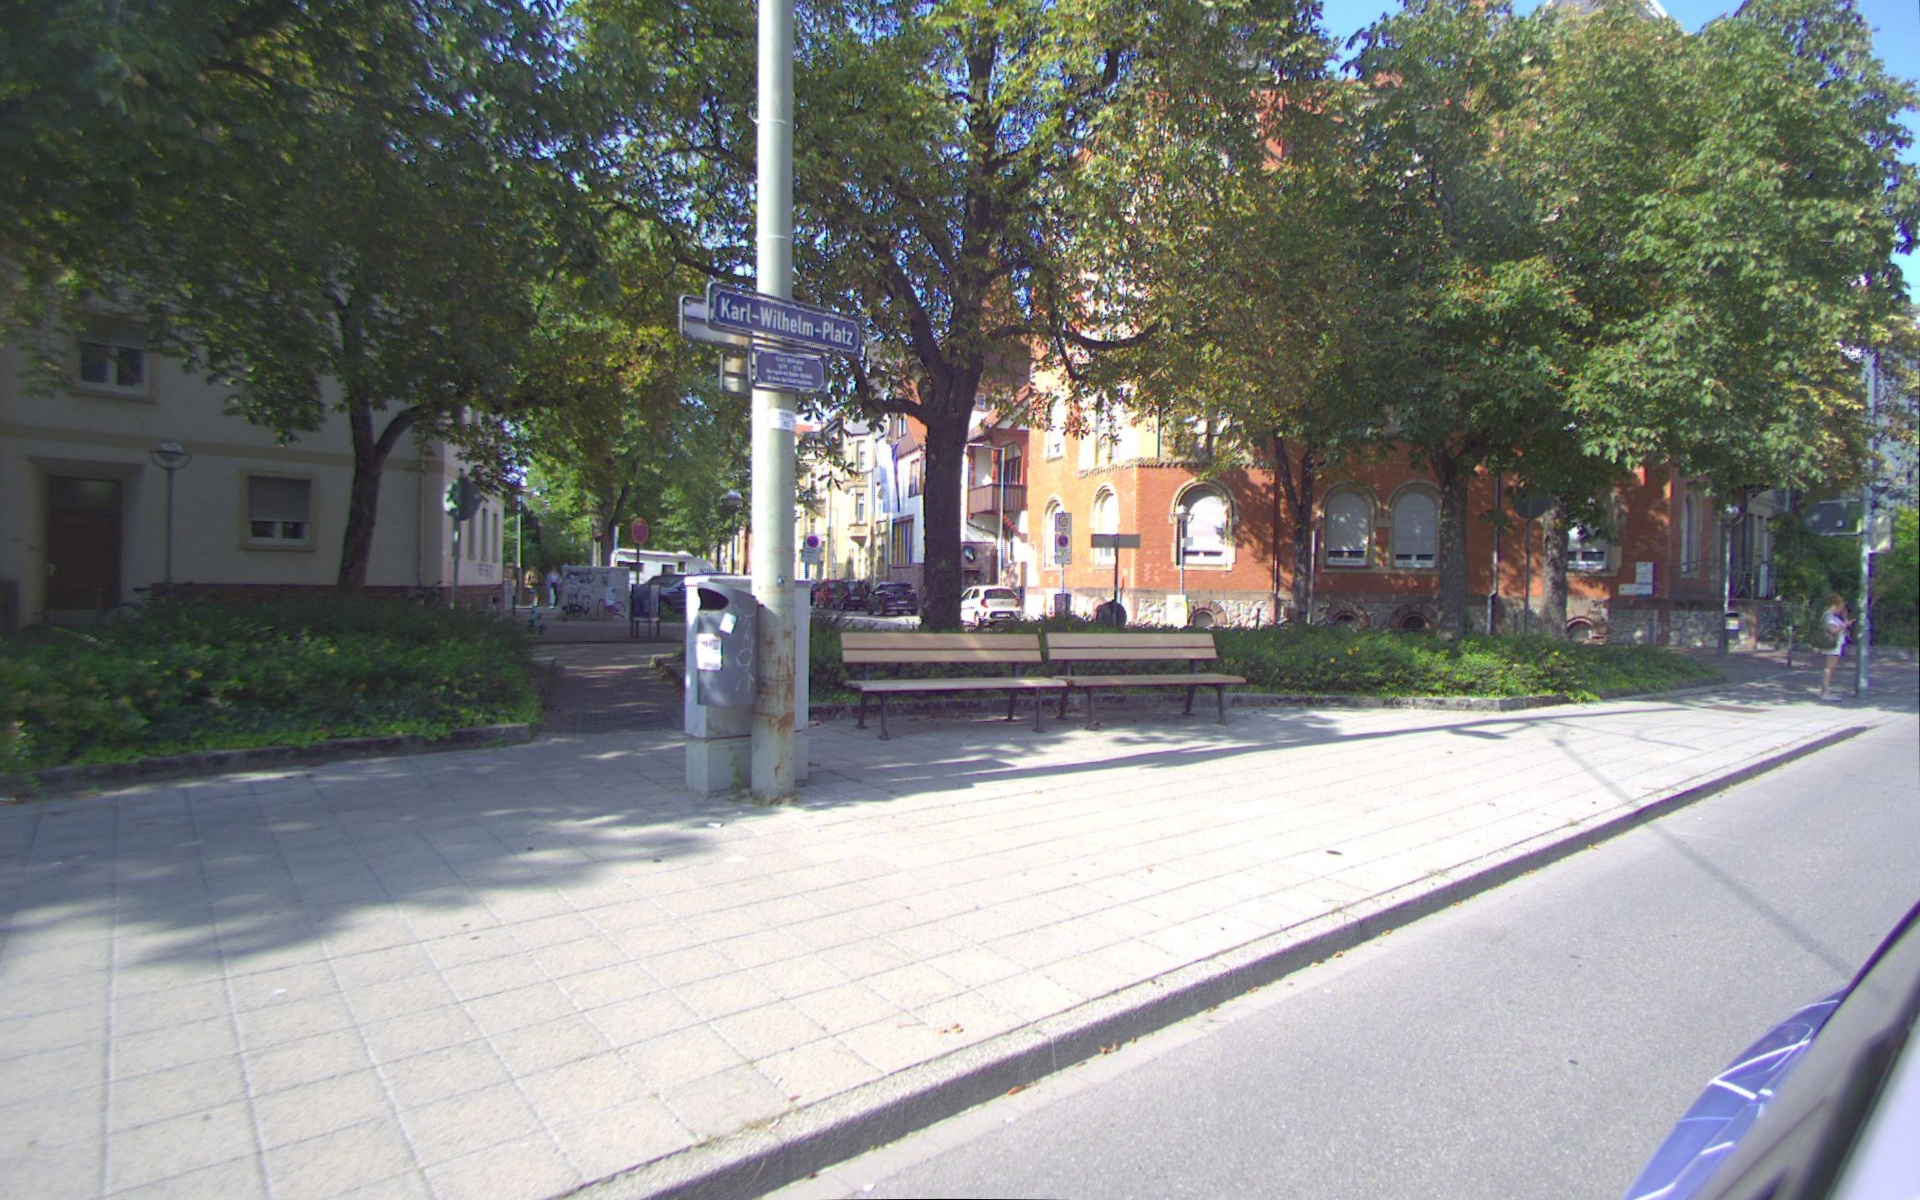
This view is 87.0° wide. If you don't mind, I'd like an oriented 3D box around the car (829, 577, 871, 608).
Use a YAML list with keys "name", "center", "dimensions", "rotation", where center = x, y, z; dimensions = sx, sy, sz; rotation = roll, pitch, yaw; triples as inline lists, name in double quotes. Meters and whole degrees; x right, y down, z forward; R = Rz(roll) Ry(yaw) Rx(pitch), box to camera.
- name: "car"
  center: [-6.451, -0.440, 59.091]
  dimensions: [1.588, 1.723, 4.009]
  rotation: [1, 1, -18]

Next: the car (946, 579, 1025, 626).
- name: "car"
  center: [0.869, 0.060, 36.728]
  dimensions: [1.588, 1.586, 4.009]
  rotation: [1, 1, -18]

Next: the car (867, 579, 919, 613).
- name: "car"
  center: [-3.299, -0.220, 49.136]
  dimensions: [1.588, 1.586, 4.009]
  rotation: [1, 1, -18]

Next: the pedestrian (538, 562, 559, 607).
- name: "pedestrian"
  center: [-16.418, -0.613, 40.411]
  dimensions: [0.754, 1.782, 0.860]
  rotation: [1, 0, -21]

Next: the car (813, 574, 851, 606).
- name: "car"
  center: [-8.123, -0.622, 63.972]
  dimensions: [1.588, 1.946, 4.009]
  rotation: [1, 1, -18]

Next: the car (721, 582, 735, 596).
- name: "car"
  center: [-31.361, -1.498, 136.758]
  dimensions: [1.588, 1.730, 4.009]
  rotation: [1, 1, -18]

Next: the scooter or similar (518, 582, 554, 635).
- name: "scooter or similar"
  center: [-9.603, 0.172, 22.952]
  dimensions: [0.433, 1.172, 1.114]
  rotation: [1, 1, -5]

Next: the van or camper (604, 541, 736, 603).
- name: "van or camper"
  center: [-16.145, -1.517, 56.364]
  dimensions: [6.796, 2.919, 2.003]
  rotation: [3, -3, -20]

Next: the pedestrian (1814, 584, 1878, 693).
- name: "pedestrian"
  center: [14.492, 0.610, 16.554]
  dimensions: [0.648, 1.739, 0.545]
  rotation: [1, 0, -26]

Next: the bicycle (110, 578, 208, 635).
- name: "bicycle"
  center: [-15.416, 0.115, 19.514]
  dimensions: [1.460, 1.073, 0.417]
  rotation: [0, 1, -36]

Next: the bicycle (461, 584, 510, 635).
- name: "bicycle"
  center: [-10.367, 0.182, 22.164]
  dimensions: [0.596, 1.071, 1.843]
  rotation: [1, 1, -13]

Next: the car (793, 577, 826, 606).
- name: "car"
  center: [-10.518, -0.591, 70.660]
  dimensions: [1.588, 1.946, 4.009]
  rotation: [1, 1, -18]

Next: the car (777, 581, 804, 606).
- name: "car"
  center: [-13.968, -0.544, 83.271]
  dimensions: [1.588, 1.946, 4.009]
  rotation: [1, 1, -18]

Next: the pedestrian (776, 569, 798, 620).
- name: "pedestrian"
  center: [-6.173, -0.199, 36.169]
  dimensions: [0.581, 1.786, 0.605]
  rotation: [1, 0, 10]

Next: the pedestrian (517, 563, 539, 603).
- name: "pedestrian"
  center: [-17.125, -0.683, 40.138]
  dimensions: [0.754, 1.566, 0.860]
  rotation: [1, 0, -21]

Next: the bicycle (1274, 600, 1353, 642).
- name: "bicycle"
  center: [9.131, 0.557, 26.173]
  dimensions: [1.805, 1.072, 0.608]
  rotation: [0, -2, 2]

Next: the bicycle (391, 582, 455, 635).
- name: "bicycle"
  center: [-11.591, 0.167, 21.837]
  dimensions: [1.862, 1.071, 0.599]
  rotation: [1, 1, 41]

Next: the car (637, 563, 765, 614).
- name: "car"
  center: [-8.919, -0.396, 34.777]
  dimensions: [4.106, 1.659, 1.666]
  rotation: [1, 1, -19]

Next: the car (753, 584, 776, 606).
- name: "car"
  center: [-18.213, -0.490, 93.961]
  dimensions: [1.588, 1.946, 4.009]
  rotation: [1, 1, -18]

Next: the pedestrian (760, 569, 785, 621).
- name: "pedestrian"
  center: [-6.534, -0.174, 35.281]
  dimensions: [0.645, 1.786, 0.605]
  rotation: [1, 0, 12]
